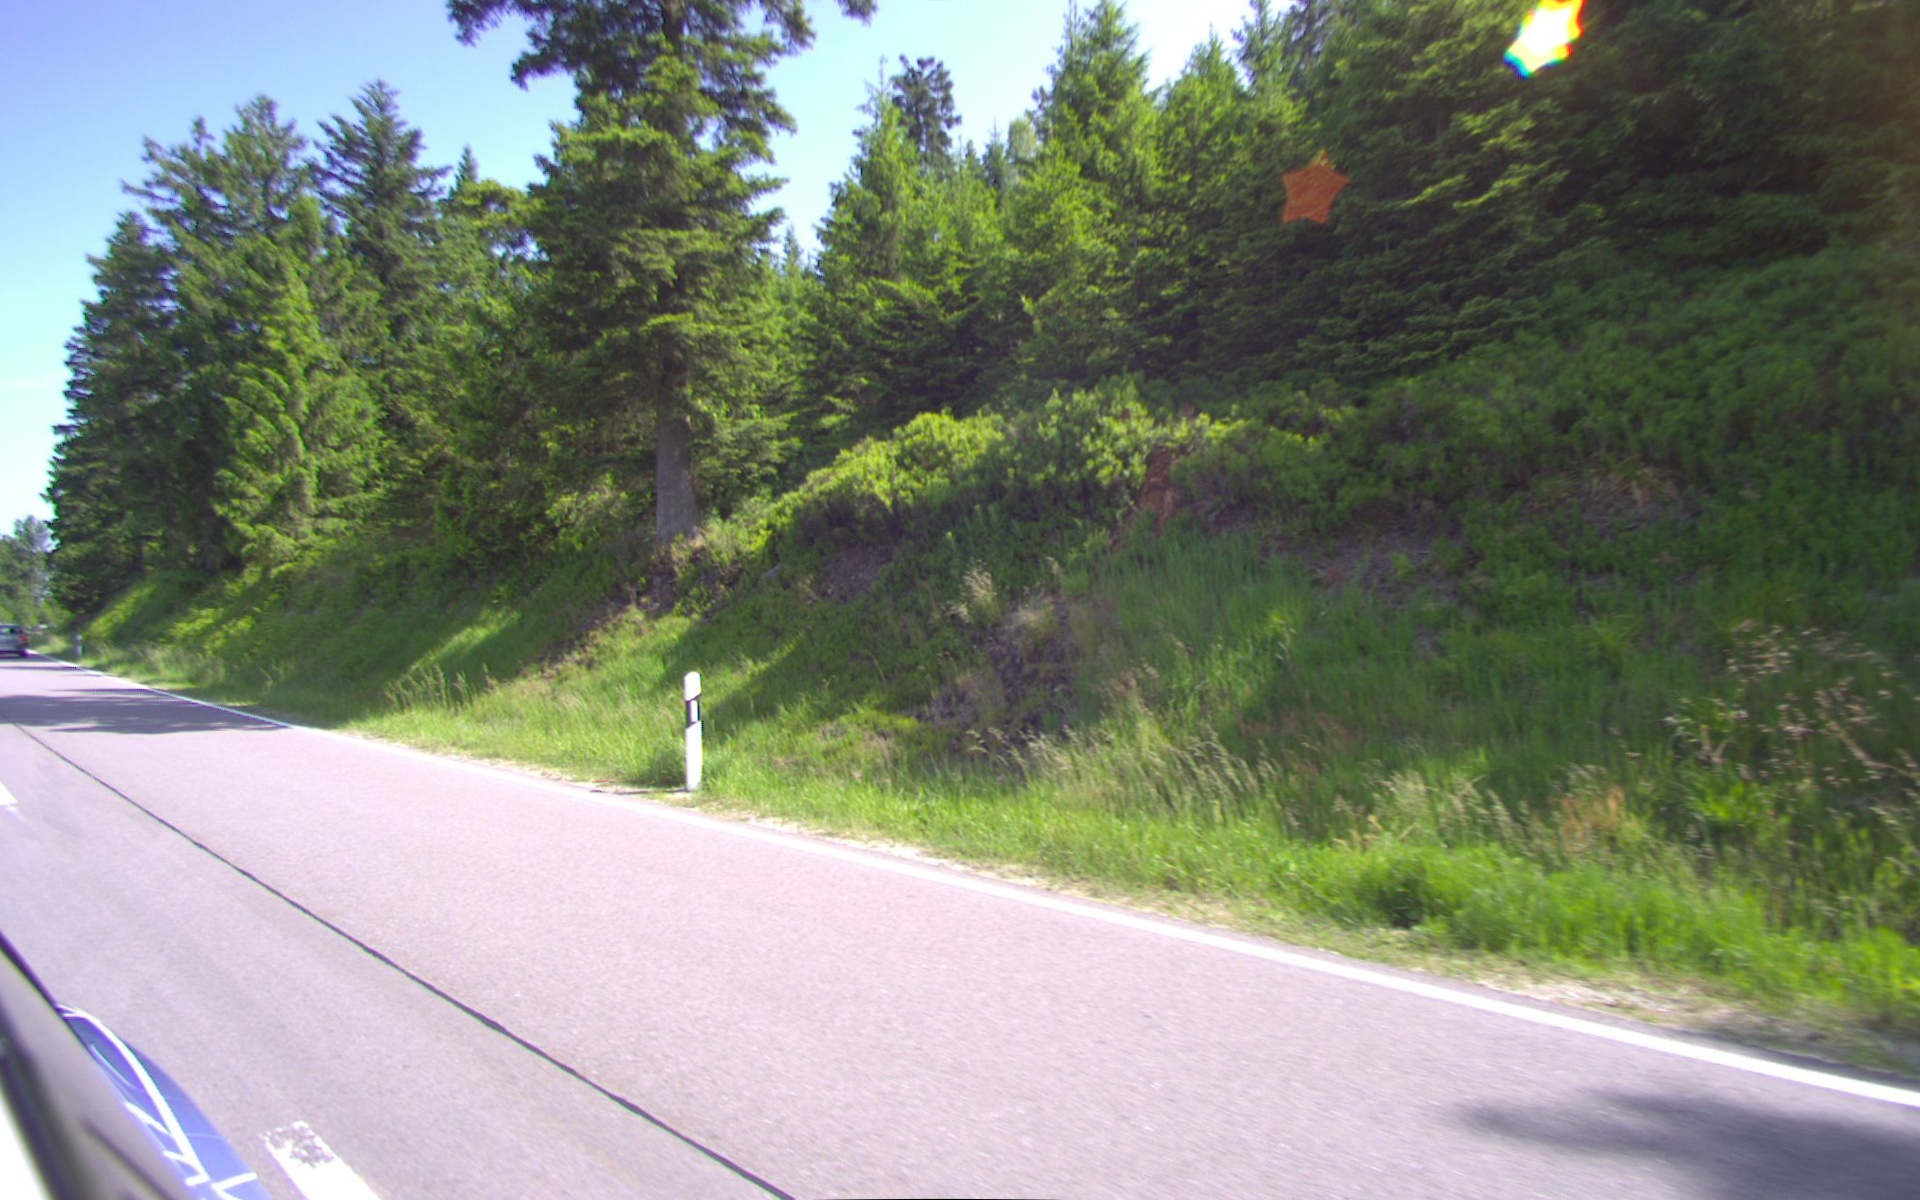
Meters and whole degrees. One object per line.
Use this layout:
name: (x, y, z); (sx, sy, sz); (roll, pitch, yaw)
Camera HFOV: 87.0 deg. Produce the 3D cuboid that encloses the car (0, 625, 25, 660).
car: (-41.364, 1.809, 43.373); (3.262, 1.425, 1.666); (-2, -3, 43)
